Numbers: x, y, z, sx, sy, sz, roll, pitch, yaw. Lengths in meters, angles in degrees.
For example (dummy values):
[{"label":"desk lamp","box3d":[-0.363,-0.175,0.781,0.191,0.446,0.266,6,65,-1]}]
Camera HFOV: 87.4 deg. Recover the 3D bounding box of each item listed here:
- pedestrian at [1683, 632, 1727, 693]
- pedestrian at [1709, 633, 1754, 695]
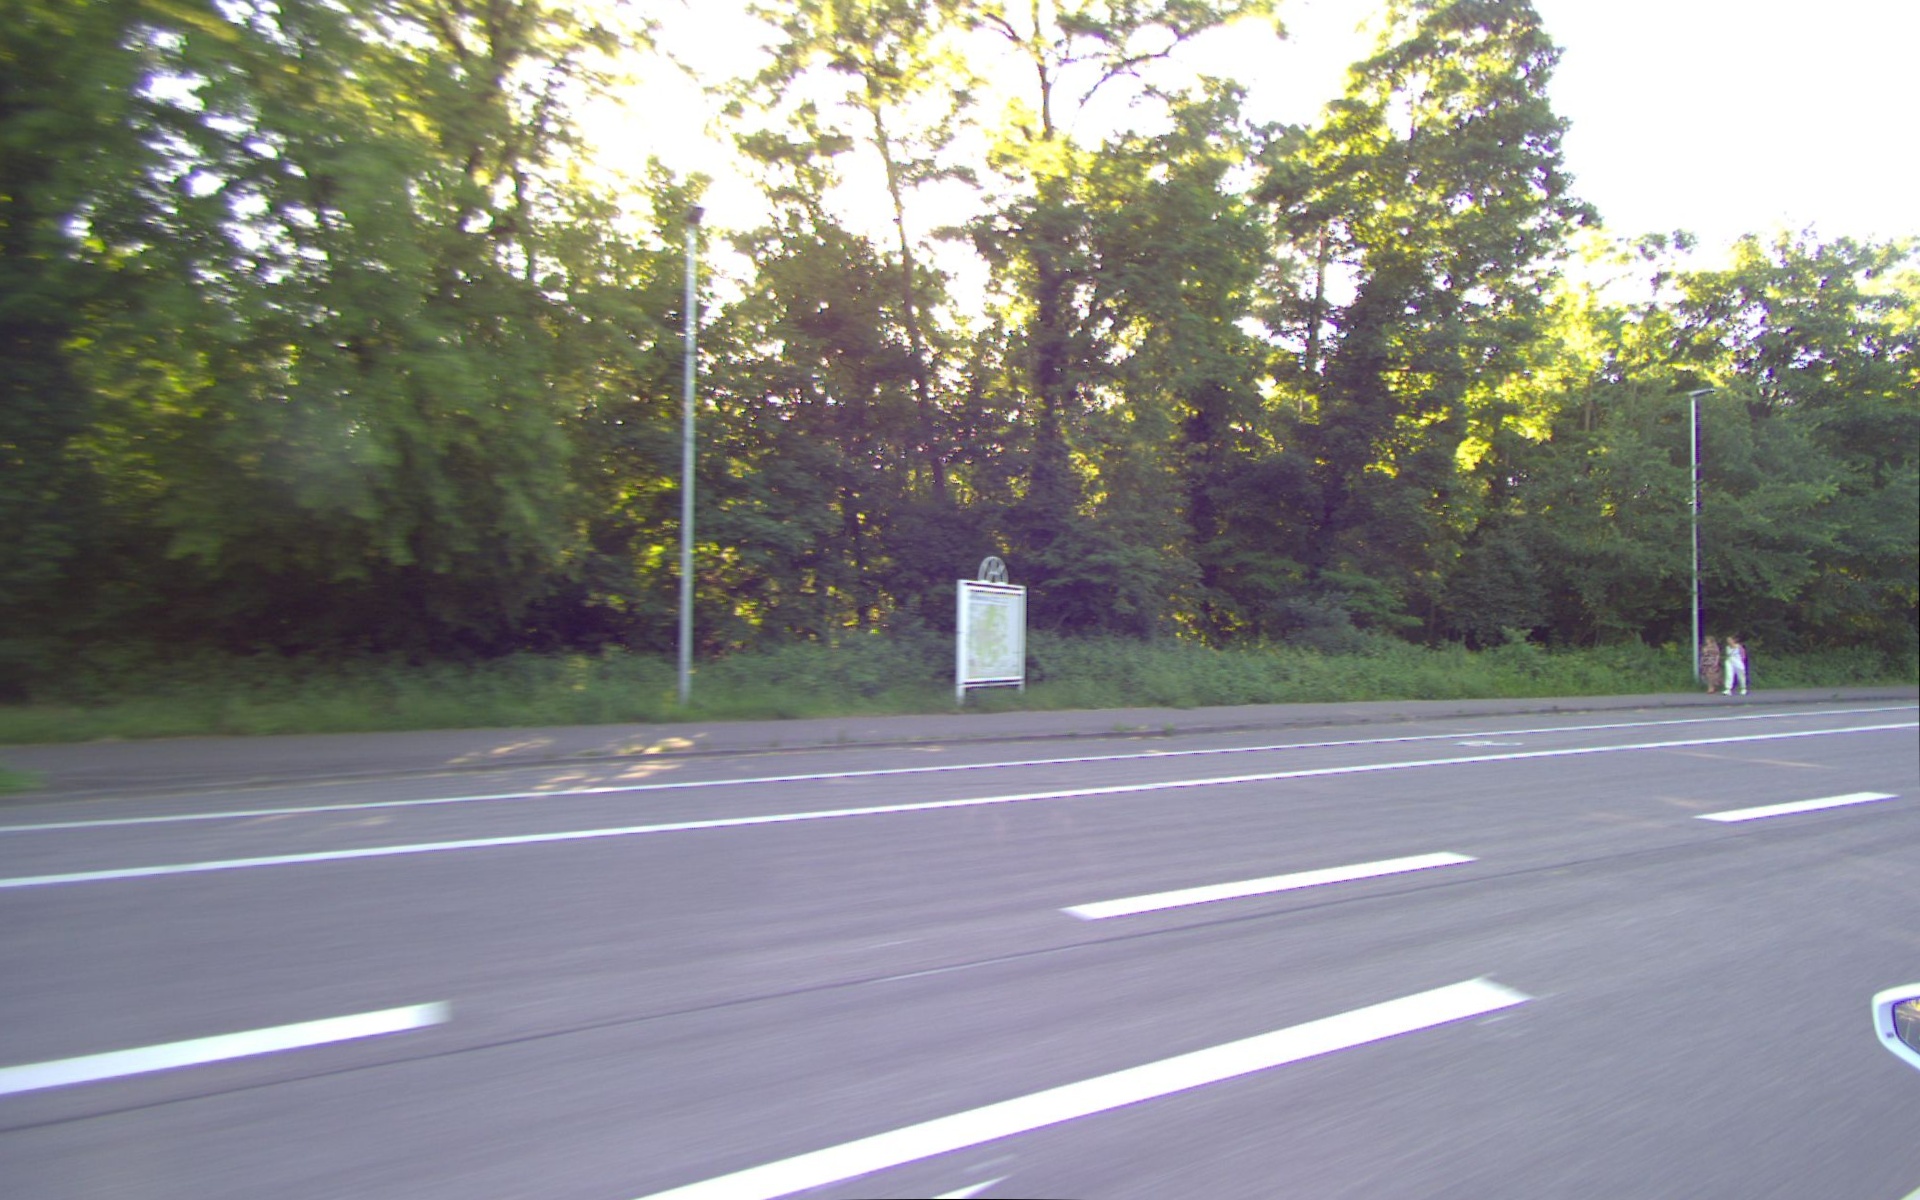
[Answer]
[{"label":"pedestrian","box3d":[20.973,1.746,28.278,0.779,1.675,0.673,1,-2,-23]},{"label":"pedestrian","box3d":[21.231,1.734,27.641,0.779,1.675,0.673,1,-2,-23]}]
